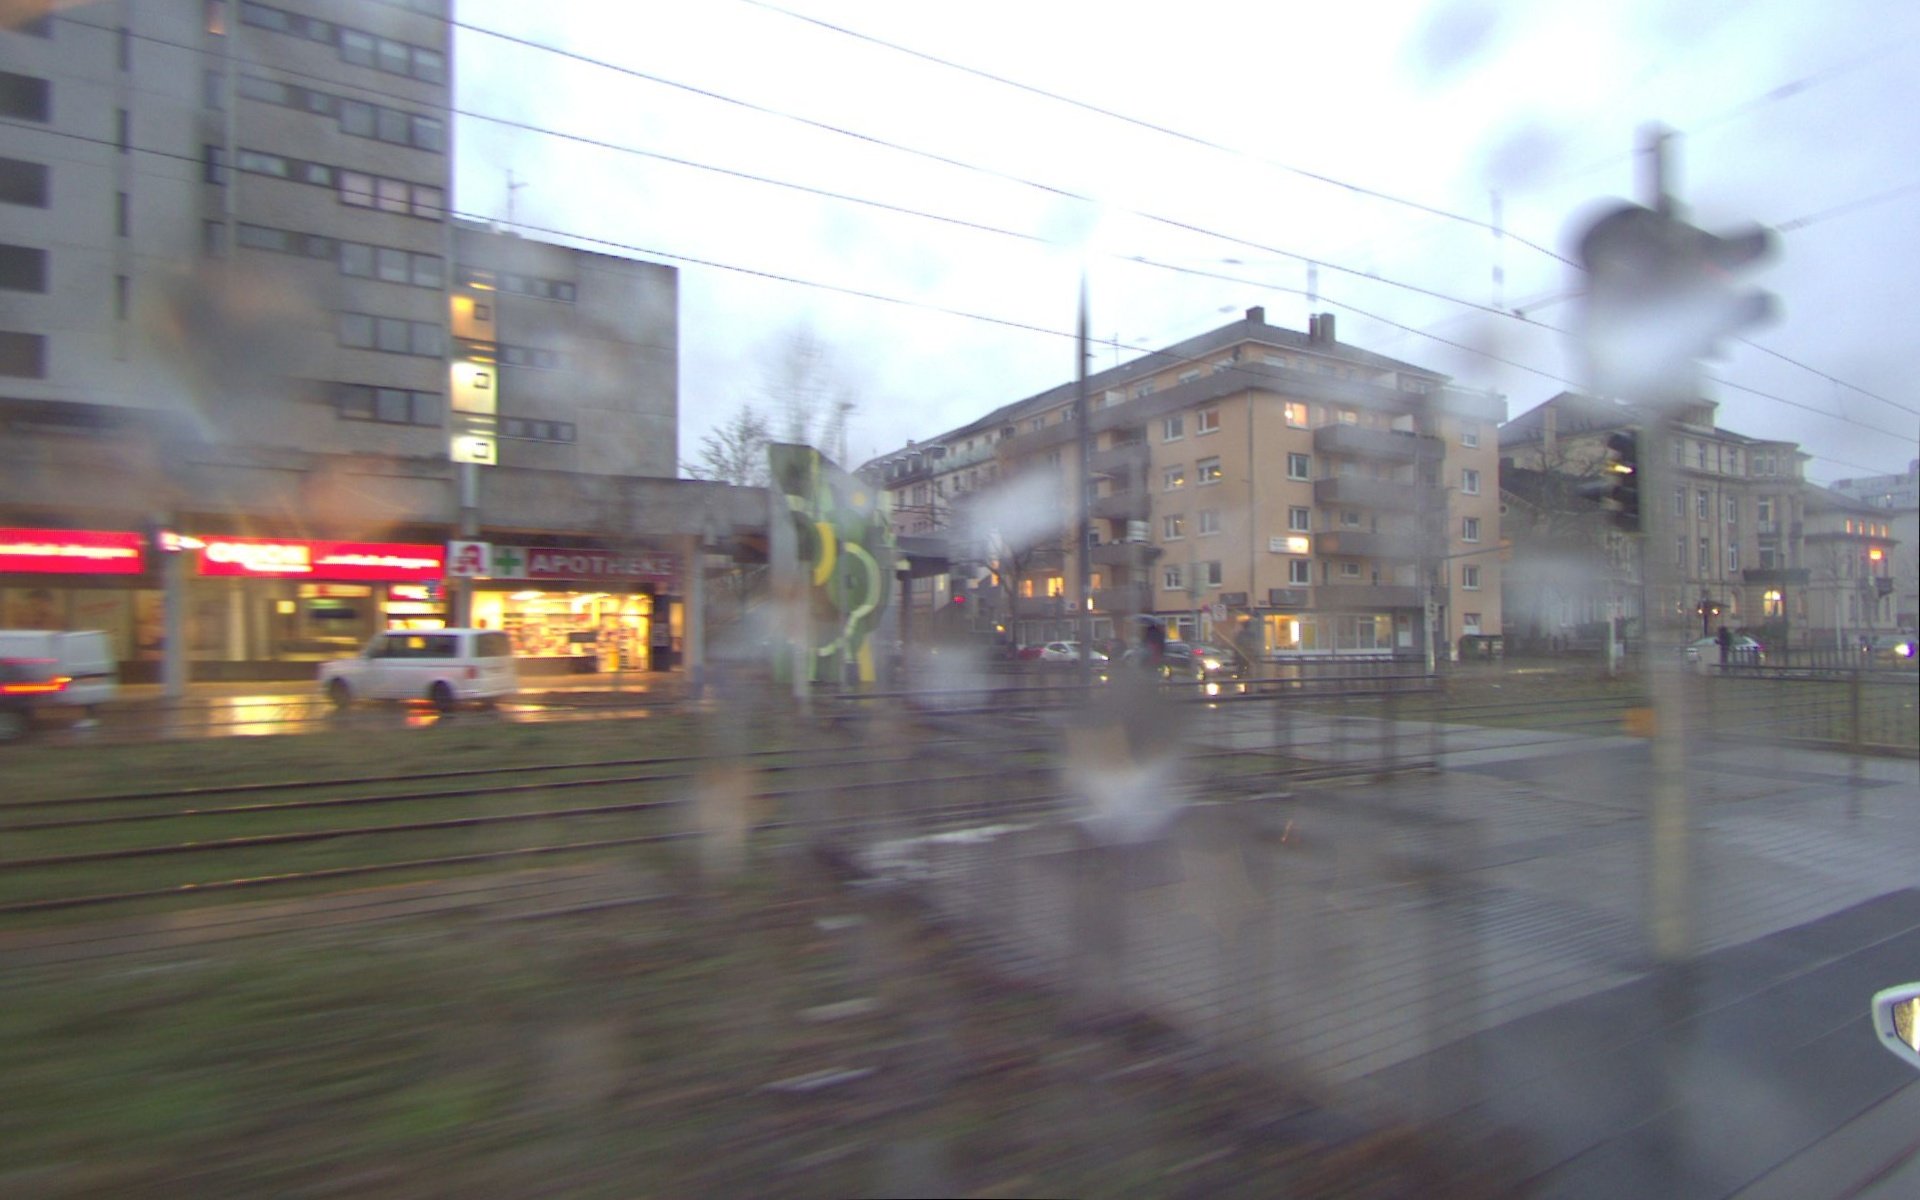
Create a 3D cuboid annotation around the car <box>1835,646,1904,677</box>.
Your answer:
[{"bbox_3d":[50.296,3.378,55.525,3.955,1.606,1.792,2,-1,-32],"label":"car"}]

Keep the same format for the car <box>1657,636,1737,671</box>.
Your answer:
[{"bbox_3d":[36.238,2.609,49.357,3.955,1.606,1.792,2,-1,-32],"label":"car"}]

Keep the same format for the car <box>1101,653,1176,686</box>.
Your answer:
[{"bbox_3d":[9.221,3.566,52.186,1.758,1.572,3.807,1,-2,-31],"label":"car"}]

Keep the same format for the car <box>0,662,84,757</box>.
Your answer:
[{"bbox_3d":[-16.759,1.780,16.169,3.725,1.468,1.664,1,-2,-32],"label":"car"}]

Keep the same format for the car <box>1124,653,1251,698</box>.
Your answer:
[{"bbox_3d":[9.079,2.977,40.328,4.639,1.565,1.988,-2,-2,44],"label":"car"}]

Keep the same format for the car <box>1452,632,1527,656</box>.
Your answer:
[{"bbox_3d":[34.022,2.818,64.629,1.813,1.425,3.966,3,-2,-31],"label":"car"}]

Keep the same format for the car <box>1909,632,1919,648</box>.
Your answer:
[{"bbox_3d":[85.879,3.525,88.916,3.885,1.455,1.796,1,-3,-33],"label":"car"}]

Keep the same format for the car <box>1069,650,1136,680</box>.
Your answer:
[{"bbox_3d":[8.036,3.680,56.983,1.738,1.572,3.807,1,-2,-31],"label":"car"}]

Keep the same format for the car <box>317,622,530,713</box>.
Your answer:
[{"bbox_3d":[-13.478,1.641,25.314,4.480,2.040,2.001,1,-1,13],"label":"car"}]

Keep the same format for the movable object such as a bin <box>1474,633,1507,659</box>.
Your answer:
[{"bbox_3d":[30.786,2.681,58.288,1.410,1.500,1.101,1,-3,-33],"label":"movable object such as a bin"}]

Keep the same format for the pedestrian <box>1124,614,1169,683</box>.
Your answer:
[{"bbox_3d":[4.156,1.080,22.401,0.625,1.509,0.784,1,-2,-38],"label":"pedestrian"}]

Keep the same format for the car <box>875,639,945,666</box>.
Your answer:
[{"bbox_3d":[-2.787,2.899,55.978,3.542,1.439,1.712,1,-2,-34],"label":"car"}]

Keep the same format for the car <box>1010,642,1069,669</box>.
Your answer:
[{"bbox_3d":[4.861,3.362,61.886,1.738,1.572,3.807,1,-2,-31],"label":"car"}]

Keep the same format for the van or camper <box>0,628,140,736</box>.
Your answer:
[{"bbox_3d":[-20.215,1.637,20.123,5.588,2.125,1.984,1,-2,-31],"label":"van or camper"}]

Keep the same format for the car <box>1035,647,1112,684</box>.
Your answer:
[{"bbox_3d":[5.536,3.186,49.436,1.667,1.531,3.964,2,-1,-33],"label":"car"}]

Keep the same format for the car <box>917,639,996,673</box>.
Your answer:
[{"bbox_3d":[-0.172,2.730,49.509,3.596,1.622,1.610,1,-2,-30],"label":"car"}]

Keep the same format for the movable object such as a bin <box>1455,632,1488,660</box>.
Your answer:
[{"bbox_3d":[29.261,2.624,57.451,1.410,1.581,1.101,1,-3,-33],"label":"movable object such as a bin"}]
